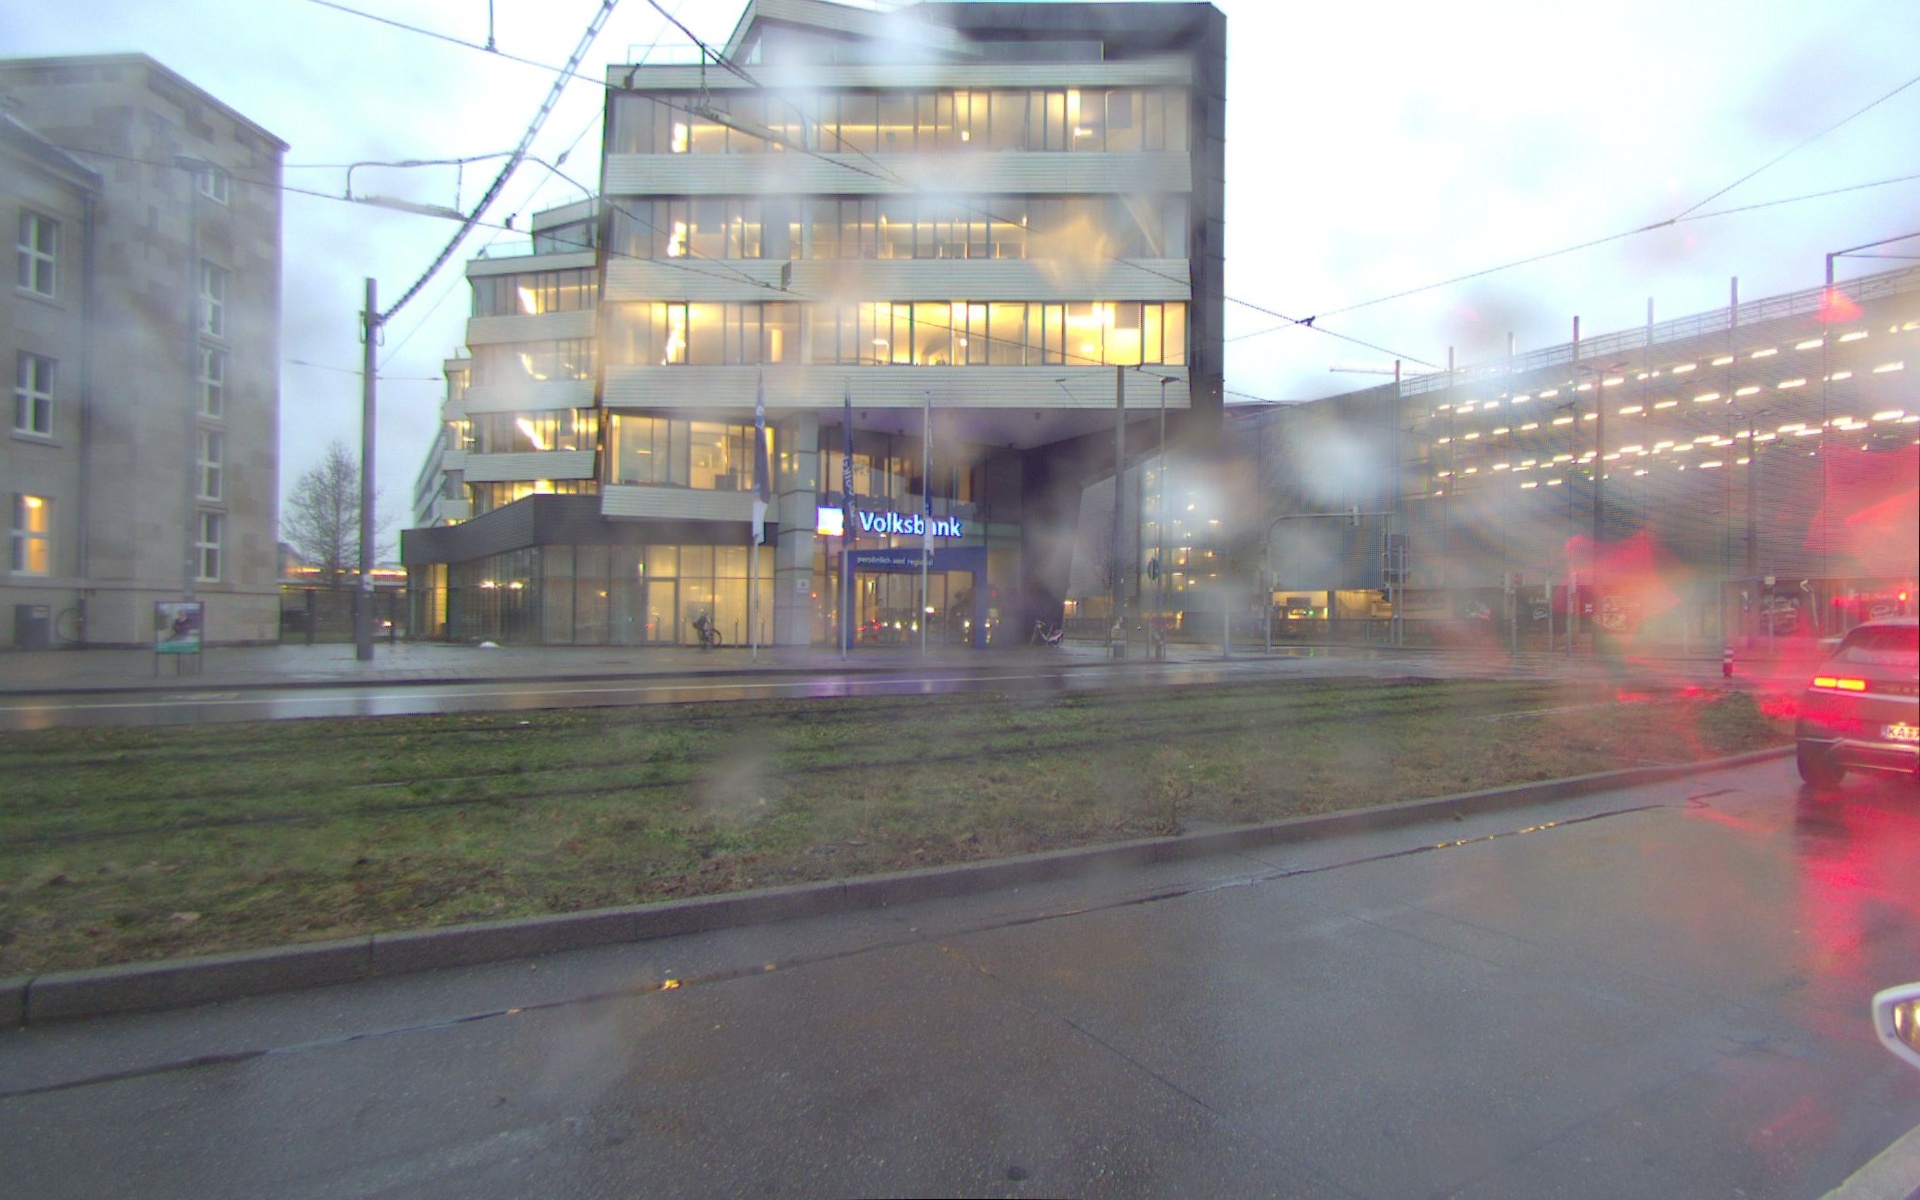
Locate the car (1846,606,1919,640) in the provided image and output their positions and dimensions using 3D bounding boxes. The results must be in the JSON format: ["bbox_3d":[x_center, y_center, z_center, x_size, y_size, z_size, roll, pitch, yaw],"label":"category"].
[{"bbox_3d":[48.966,1.185,52.252,1.720,1.640,3.961,0,1,-34],"label":"car"}]

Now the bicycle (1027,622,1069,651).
[{"bbox_3d":[3.525,1.453,40.111,1.588,1.105,0.553,1,-1,-23],"label":"bicycle"}]

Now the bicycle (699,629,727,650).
[{"bbox_3d":[-8.620,1.363,35.068,0.896,0.724,0.483,1,-1,-10],"label":"bicycle"}]

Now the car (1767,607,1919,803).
[{"bbox_3d":[9.374,0.902,9.434,3.959,1.595,1.742,1,-1,-34],"label":"car"}]

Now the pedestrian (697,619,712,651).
[{"bbox_3d":[-8.738,1.191,34.344,0.380,1.103,0.325,0,-1,5],"label":"pedestrian"}]
